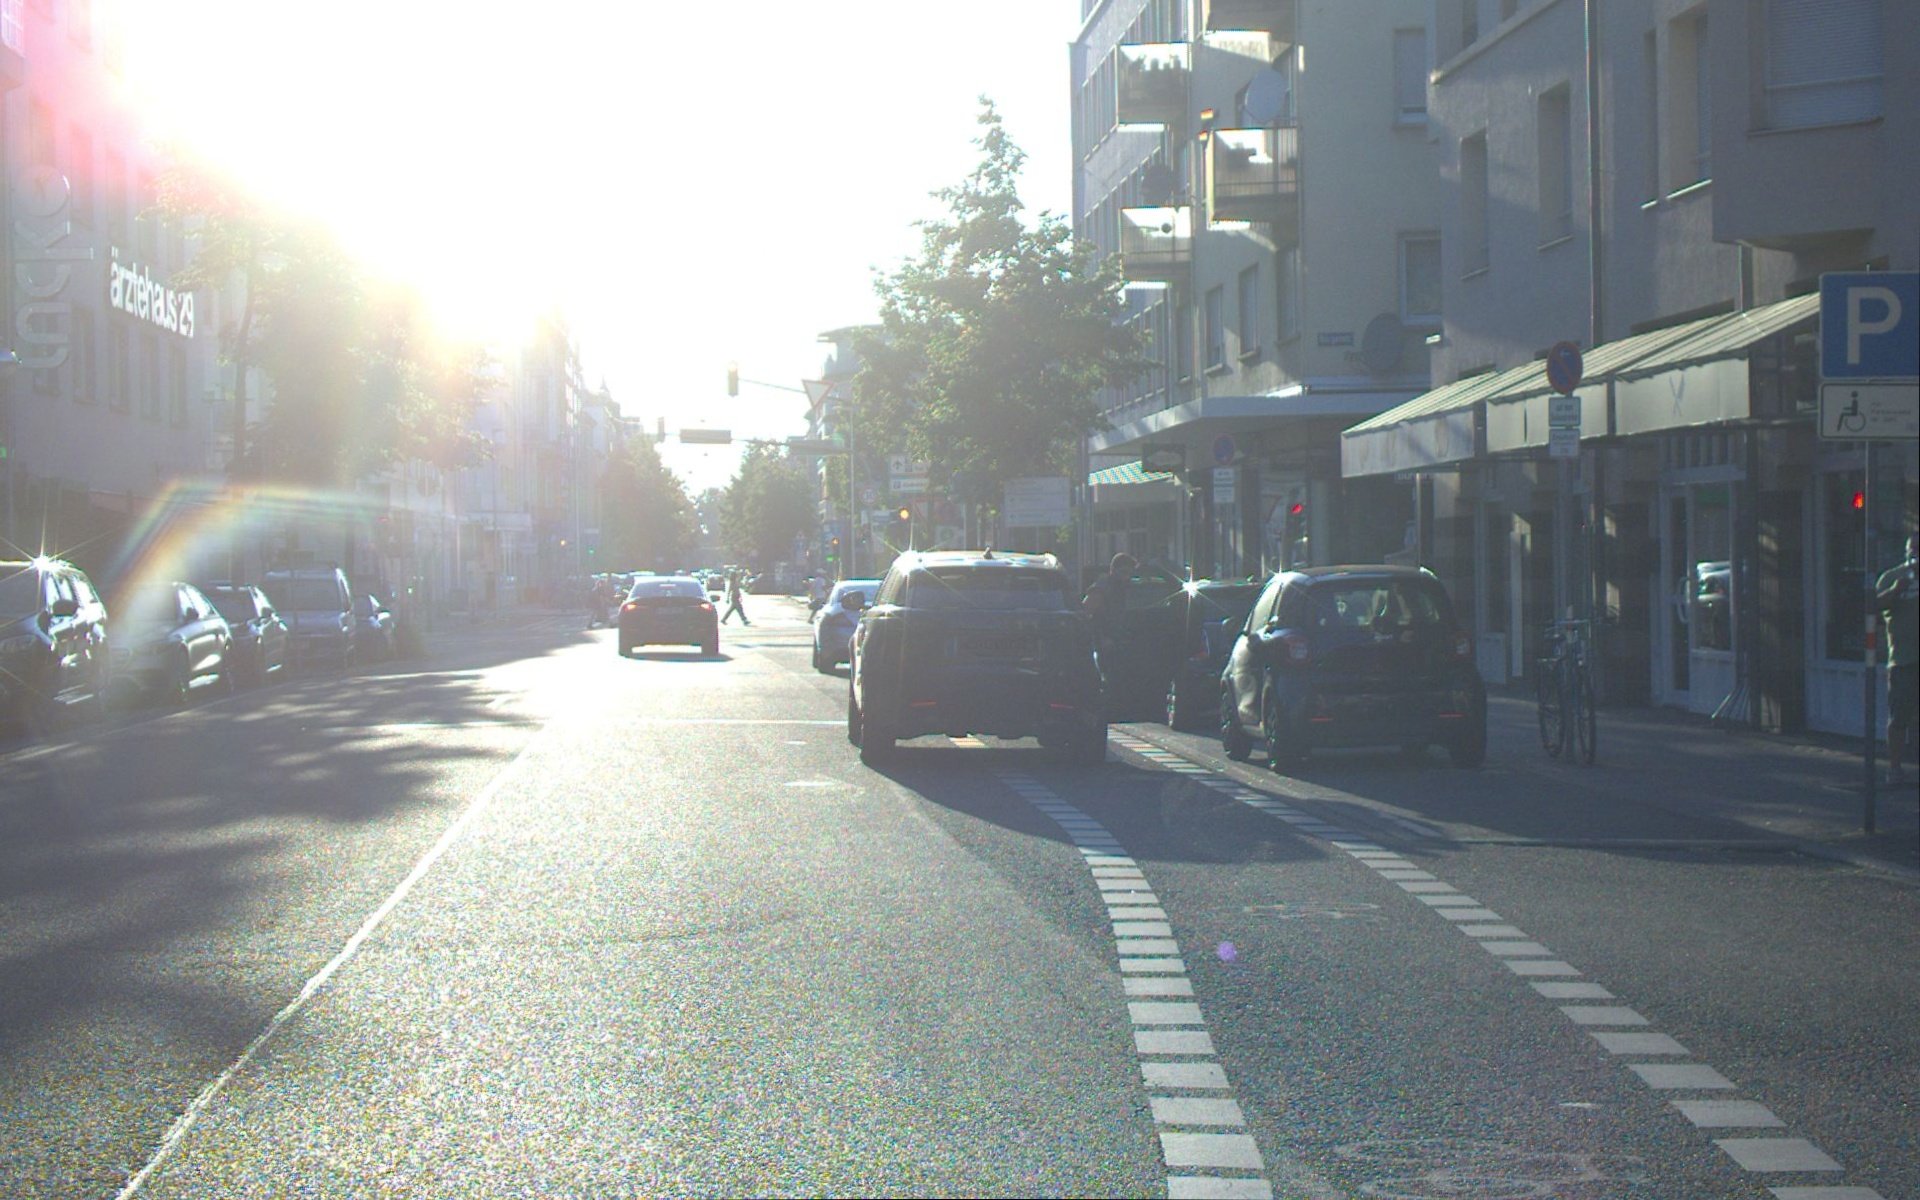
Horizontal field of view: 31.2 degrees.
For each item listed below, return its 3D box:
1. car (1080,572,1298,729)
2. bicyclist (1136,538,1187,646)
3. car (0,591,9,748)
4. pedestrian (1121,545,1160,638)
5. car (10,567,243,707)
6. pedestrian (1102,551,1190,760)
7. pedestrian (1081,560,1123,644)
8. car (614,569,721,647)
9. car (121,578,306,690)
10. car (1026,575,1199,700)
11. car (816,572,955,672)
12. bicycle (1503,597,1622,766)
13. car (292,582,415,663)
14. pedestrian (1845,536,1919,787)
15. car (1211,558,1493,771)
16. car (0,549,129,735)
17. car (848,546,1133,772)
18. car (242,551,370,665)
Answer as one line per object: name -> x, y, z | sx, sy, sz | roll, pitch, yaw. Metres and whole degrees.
car -> 2.210, 0.456, 34.056 | 1.633, 1.419, 3.758 | -1, 1, -4
bicyclist -> 3.197, -0.135, 54.581 | 0.650, 1.696, 1.095 | -1, 0, -4
car -> -9.596, 0.693, 29.762 | 1.713, 1.435, 4.310 | -2, 1, -3
pedestrian -> 3.353, -0.163, 63.930 | 0.688, 1.716, 0.716 | -1, 0, 3
car -> -10.329, 0.414, 42.971 | 1.827, 1.551, 5.136 | -2, 1, -3
pedestrian -> 1.502, 0.443, 27.817 | 0.441, 1.659, 0.565 | -2, 1, -28
pedestrian -> 2.640, 0.031, 64.134 | 0.688, 1.553, 0.863 | -1, 0, -3
car -> -5.496, 0.124, 64.907 | 1.883, 1.410, 4.325 | 0, 1, -3
car -> -10.556, 0.444, 48.906 | 1.827, 1.434, 4.554 | -3, 1, -3
car -> 1.798, 0.418, 41.687 | 1.703, 1.431, 3.932 | 0, 1, -3
car -> -1.188, 0.303, 52.676 | 1.922, 1.410, 4.548 | 2, 0, -3
bicycle -> 4.645, 0.609, 26.571 | 0.397, 1.230, 1.826 | -1, 1, -6
car -> -11.341, 0.394, 64.455 | 1.833, 1.323, 4.125 | -2, 1, -4
pedestrian -> 6.408, 0.397, 22.931 | 0.810, 1.641, 0.606 | -2, 0, 3
car -> 3.042, 0.465, 27.129 | 1.632, 1.548, 2.695 | -1, 1, -6
car -> -10.112, 0.405, 36.218 | 1.827, 1.804, 5.349 | -2, 1, -5
car -> 0.152, 0.415, 28.091 | 1.995, 1.649, 4.674 | 1, 1, -3
car -> -11.045, 0.116, 58.287 | 1.832, 1.848, 4.125 | 0, 0, -7
